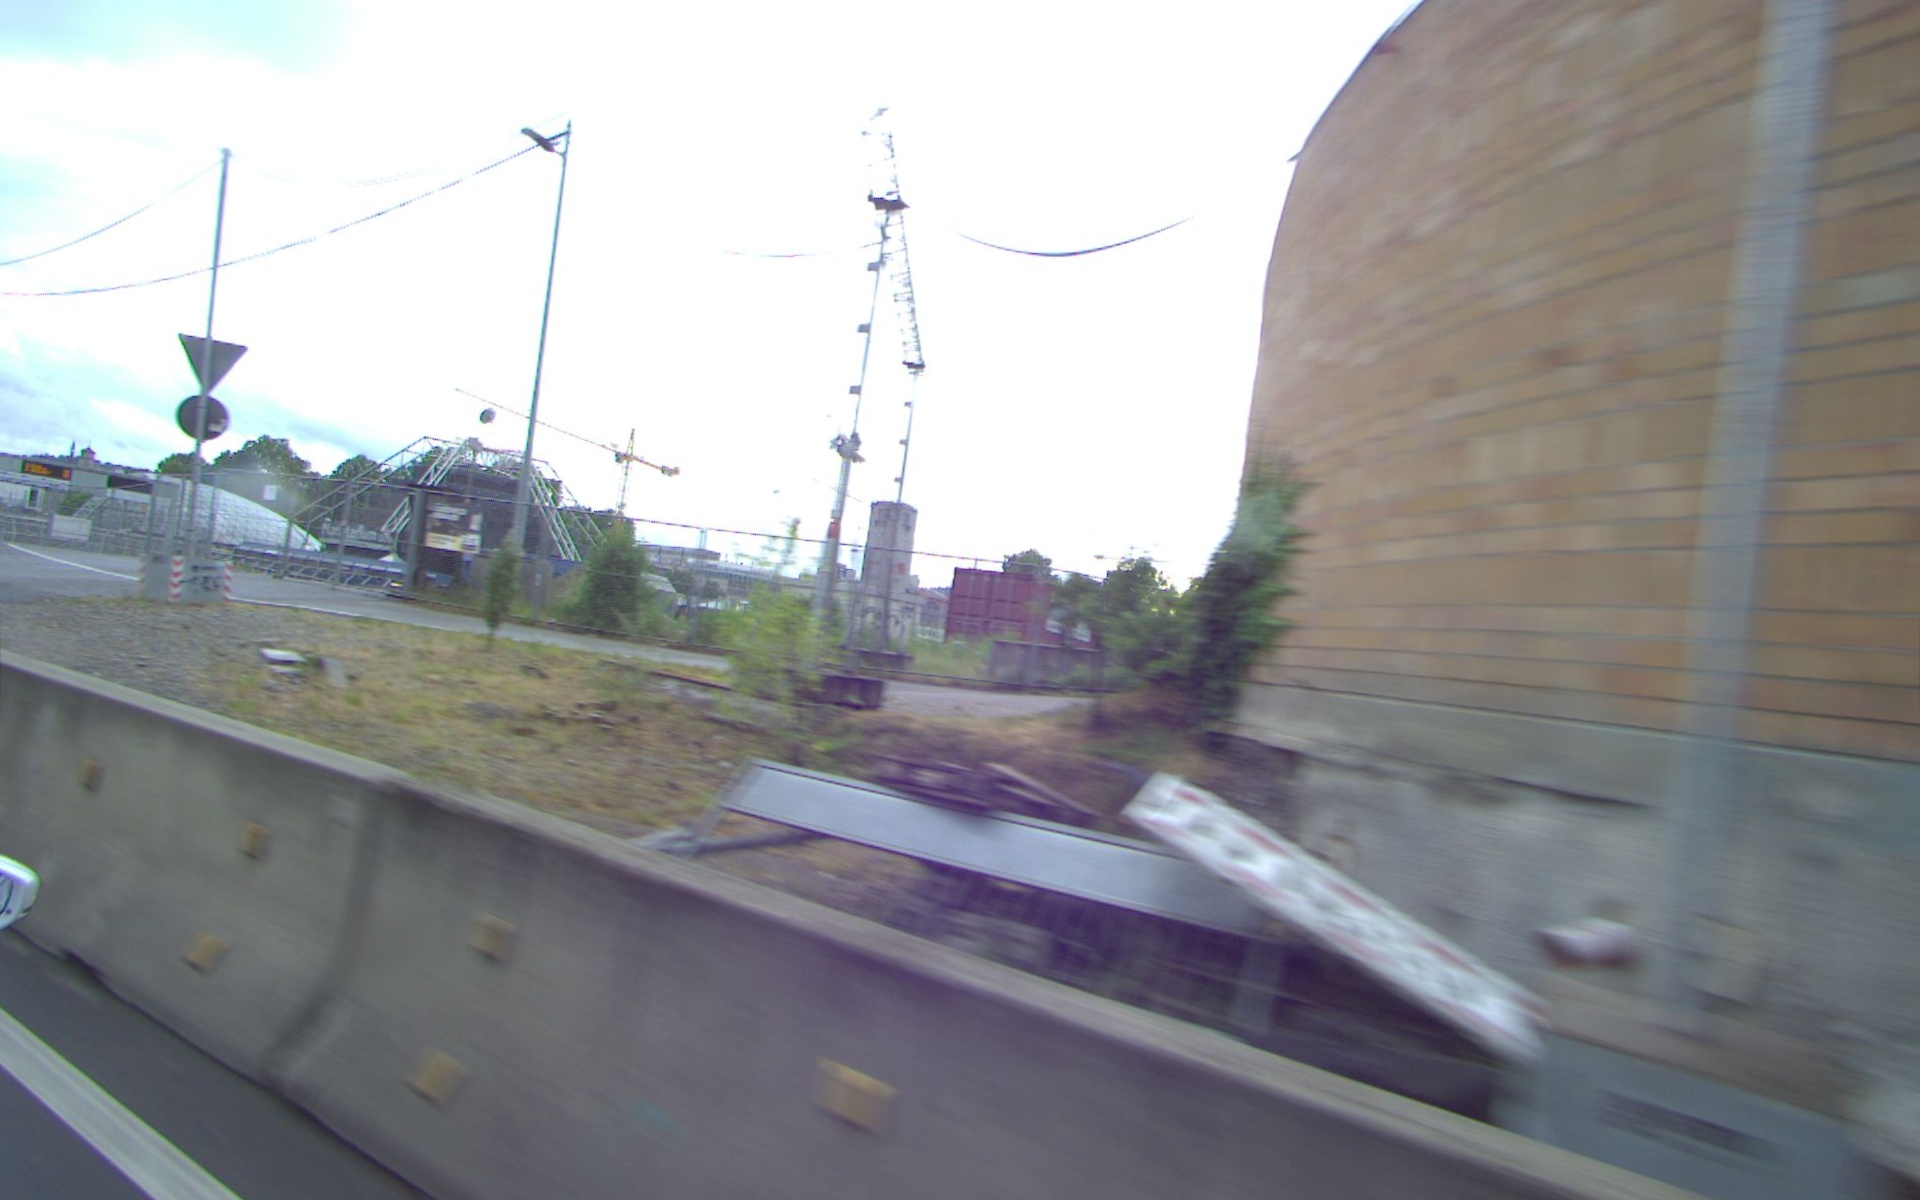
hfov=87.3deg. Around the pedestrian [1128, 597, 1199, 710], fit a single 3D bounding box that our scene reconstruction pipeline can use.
[{"bbox_3d":[3.445,0.908,16.977,0.682,1.799,0.812,6,-1,41],"label":"pedestrian"}]
